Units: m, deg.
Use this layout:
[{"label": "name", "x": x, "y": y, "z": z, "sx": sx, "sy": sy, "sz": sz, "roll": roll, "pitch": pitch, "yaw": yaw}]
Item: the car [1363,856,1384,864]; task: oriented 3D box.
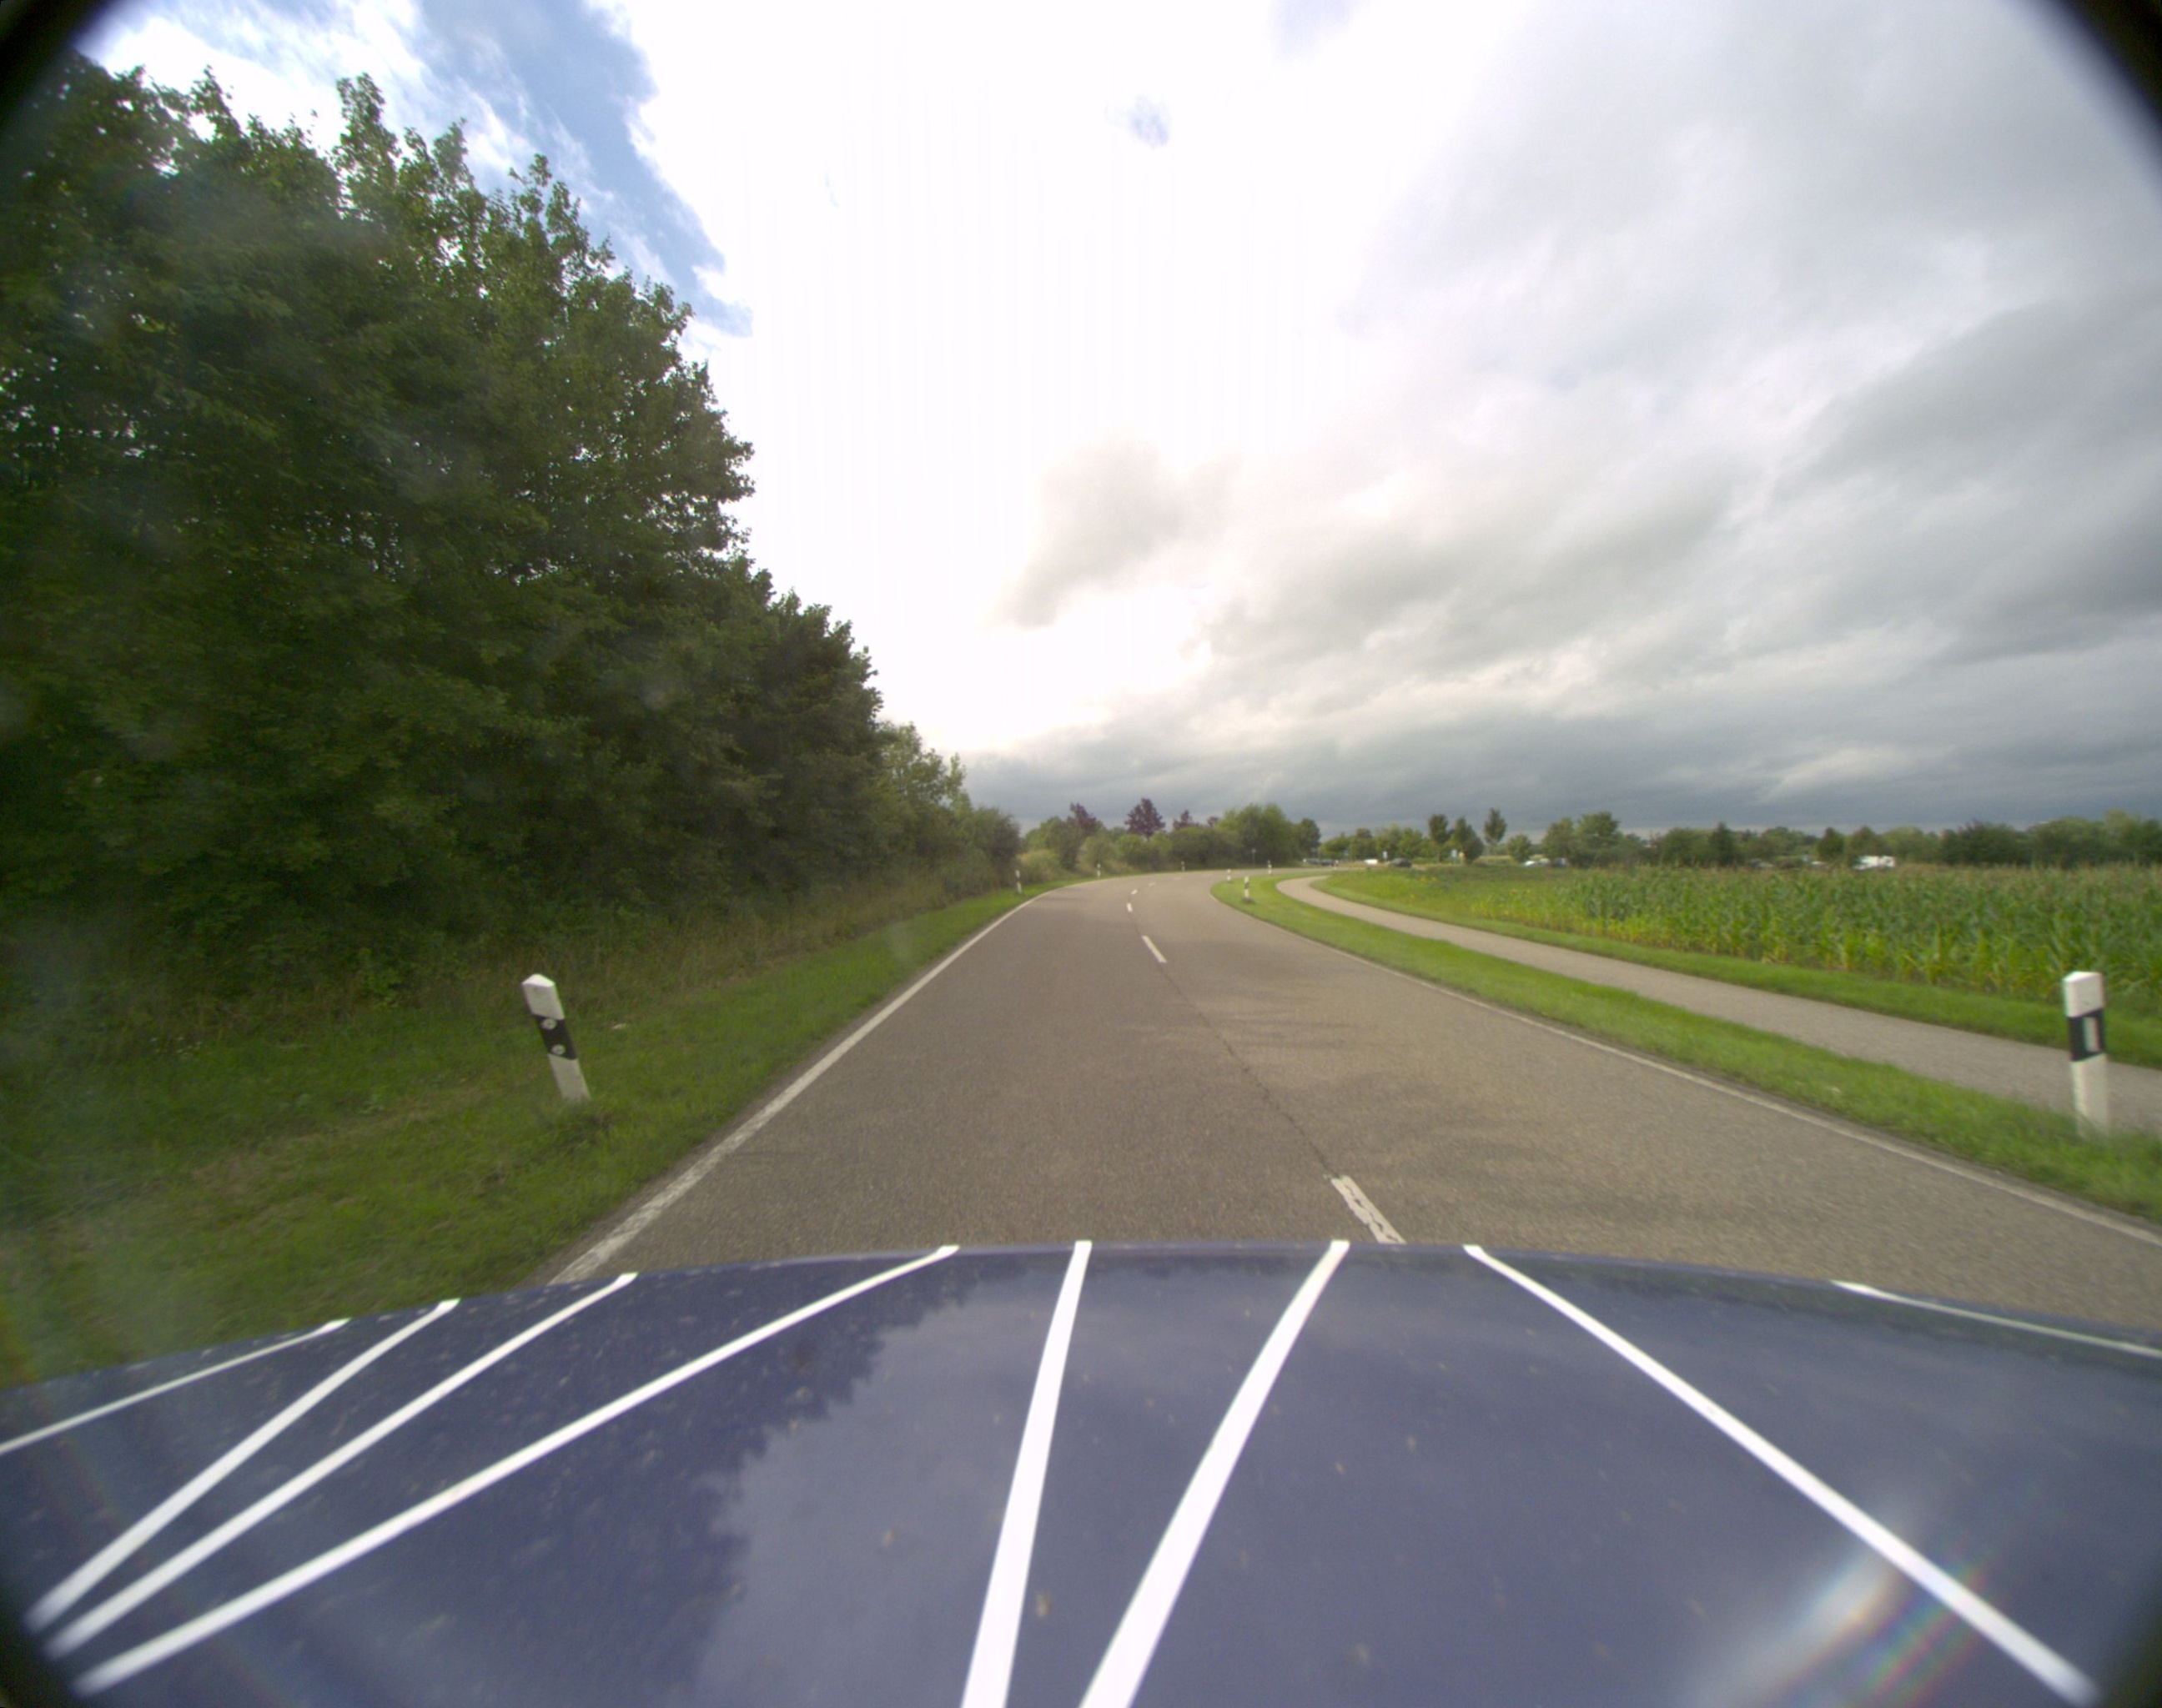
[{"label": "car", "x": 67.420, "y": 1.313, "z": 175.043, "sx": 3.988, "sy": 1.849, "sz": 2.004, "roll": 1, "pitch": 0, "yaw": 40}]

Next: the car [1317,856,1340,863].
[{"label": "car", "x": 51.213, "y": 1.043, "z": 157.247, "sx": 4.153, "sy": 1.406, "sz": 2.004, "roll": 1, "pitch": 0, "yaw": 36}]

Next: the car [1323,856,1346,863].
[{"label": "car", "x": 53.356, "y": 1.120, "z": 160.052, "sx": 3.998, "sy": 1.496, "sz": 2.056, "roll": 1, "pitch": 0, "yaw": 42}]
